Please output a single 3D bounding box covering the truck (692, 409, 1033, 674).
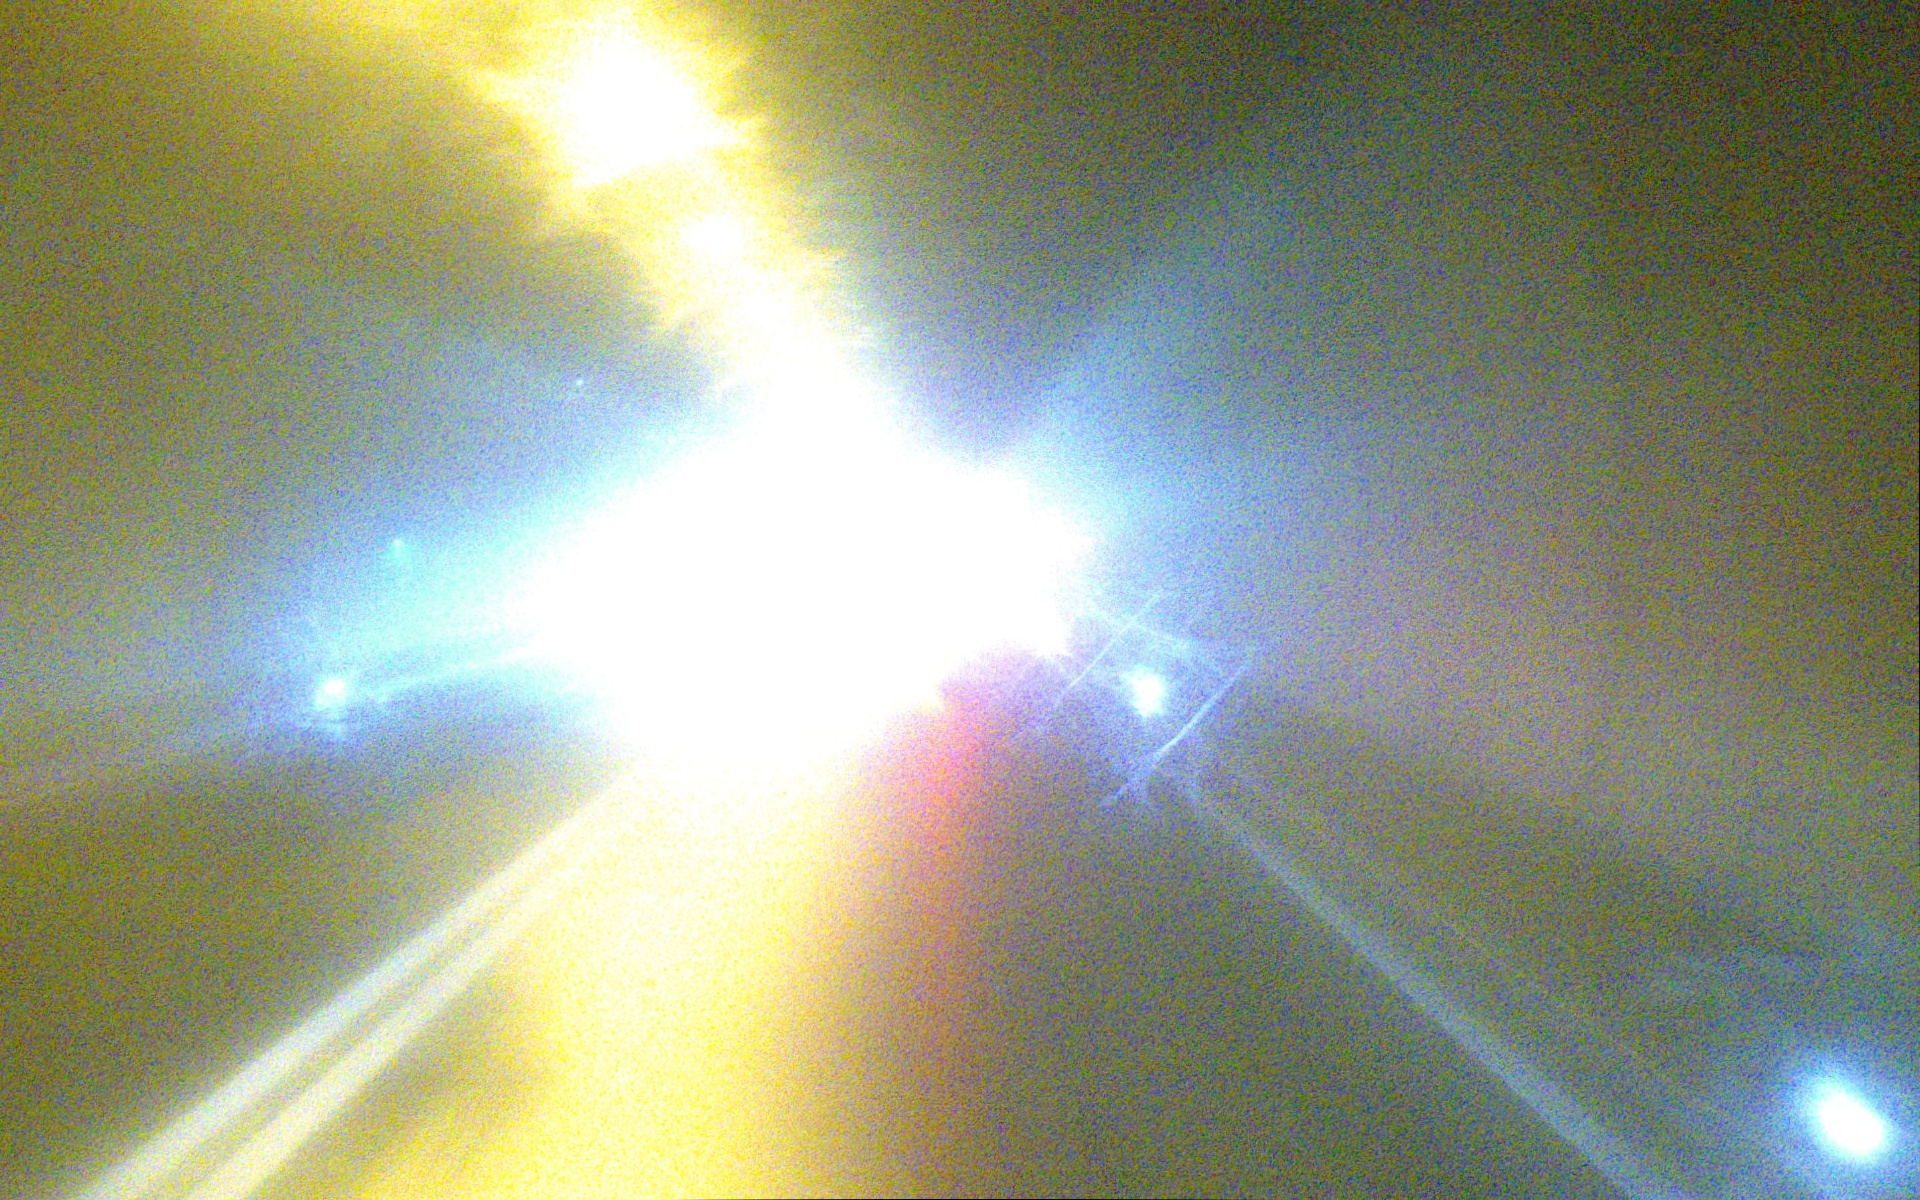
[{"bbox_3d":[-1.080,-0.729,41.516,3.535,2.684,8.956,-3,1,0],"label":"truck"}]
